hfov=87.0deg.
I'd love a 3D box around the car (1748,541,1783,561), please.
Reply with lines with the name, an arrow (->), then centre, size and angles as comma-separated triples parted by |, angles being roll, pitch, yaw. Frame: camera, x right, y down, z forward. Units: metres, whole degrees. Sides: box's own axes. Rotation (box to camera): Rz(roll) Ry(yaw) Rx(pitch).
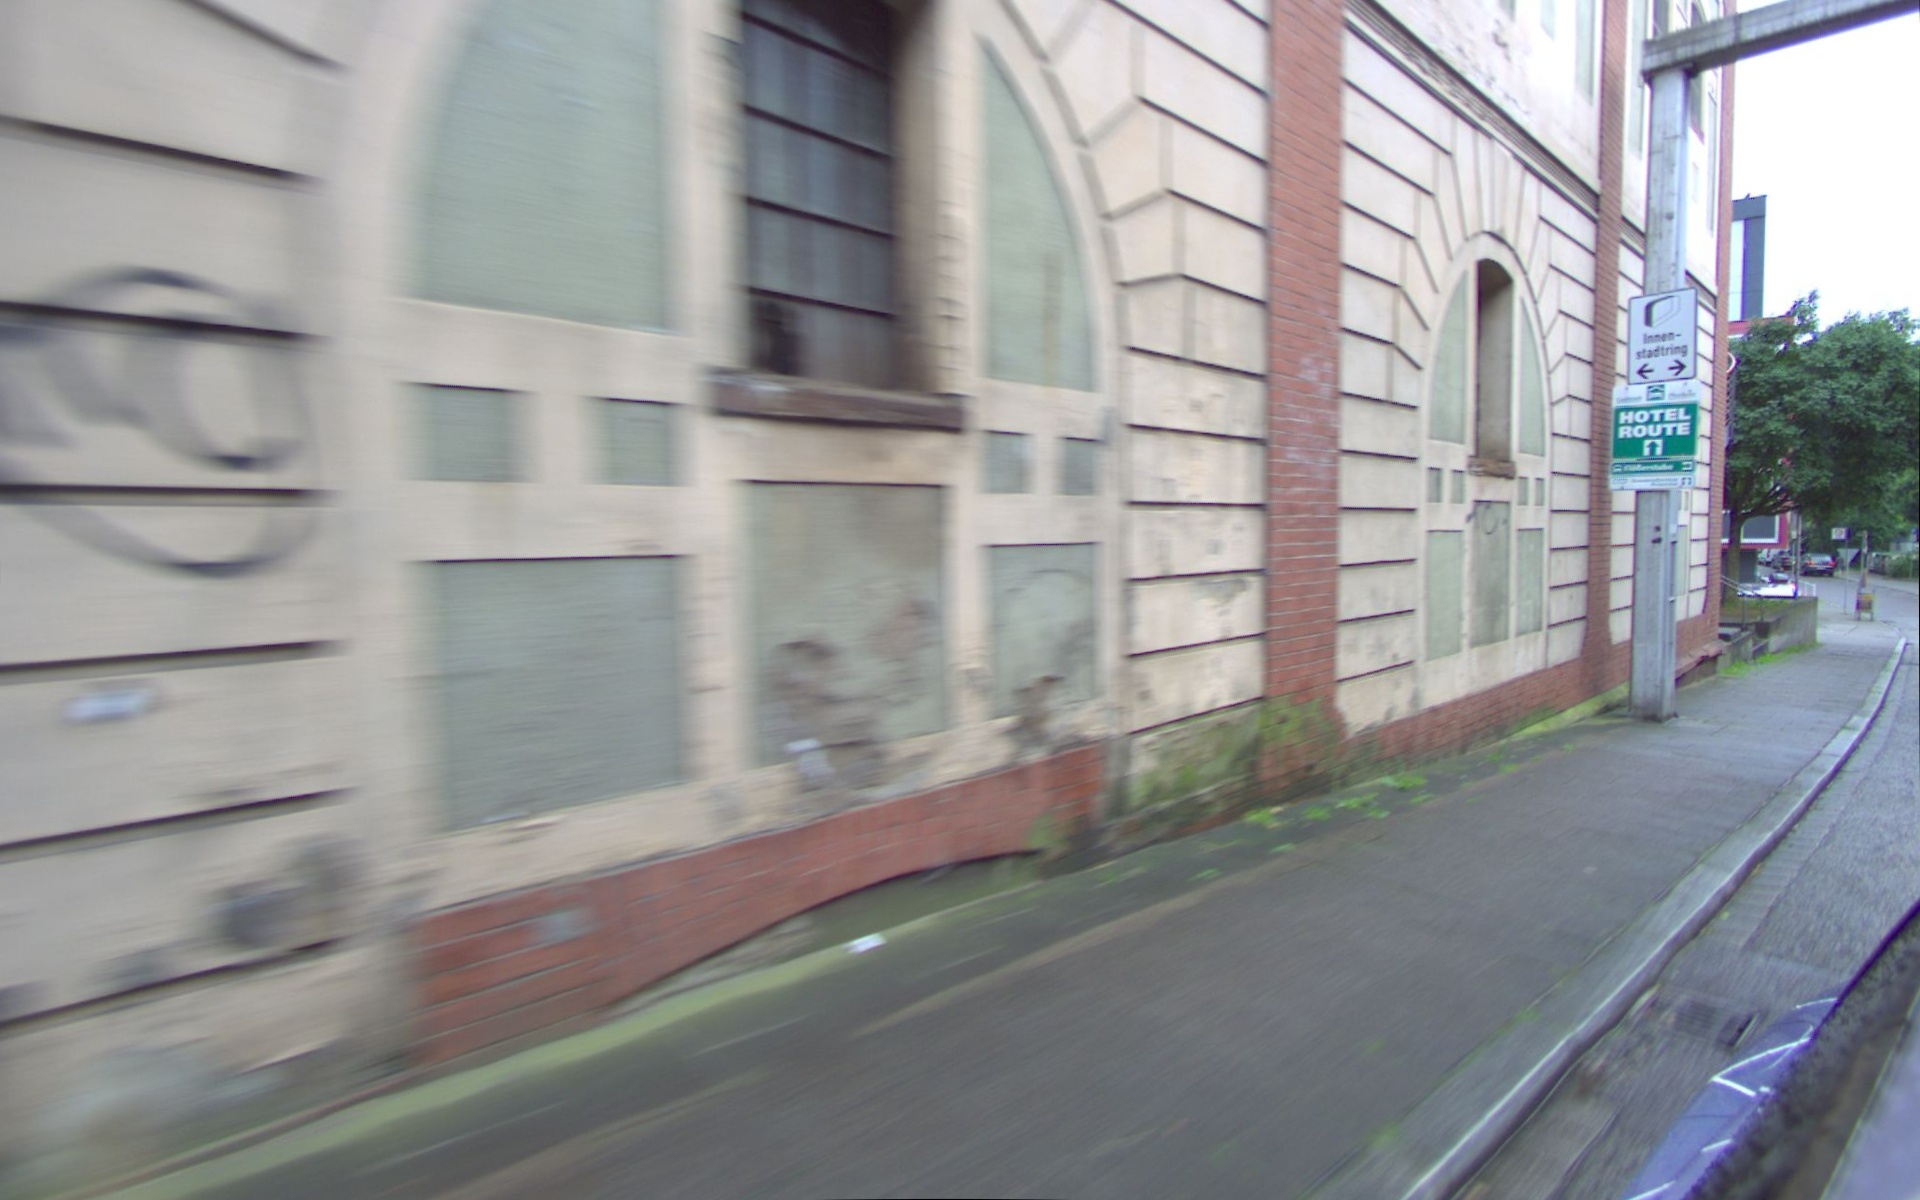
car -> 74.411, -4.532, 93.514 | 1.893, 1.670, 3.961 | 2, 5, 30

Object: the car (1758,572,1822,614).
car -> 39.575, -0.364, 48.369 | 1.920, 1.732, 4.438 | 2, 4, 34

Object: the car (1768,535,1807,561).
car -> 71.500, -4.551, 87.528 | 1.893, 2.099, 3.961 | 2, 5, 30

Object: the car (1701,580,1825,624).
car -> 35.265, 0.054, 44.596 | 3.963, 1.551, 1.855 | 5, 5, 32

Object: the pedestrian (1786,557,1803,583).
pedestrian -> 51.484, -1.866, 62.430 | 0.699, 1.585, 0.615 | 1, 5, 33

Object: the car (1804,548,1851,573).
car -> 64.834, -2.984, 75.706 | 1.893, 1.670, 3.961 | 2, 5, 30

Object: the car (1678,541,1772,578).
car -> 51.329, -2.739, 67.956 | 4.869, 2.236, 1.859 | 4, 7, 39

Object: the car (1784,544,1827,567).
car -> 67.937, -3.612, 81.379 | 1.893, 1.670, 3.961 | 2, 5, 30
